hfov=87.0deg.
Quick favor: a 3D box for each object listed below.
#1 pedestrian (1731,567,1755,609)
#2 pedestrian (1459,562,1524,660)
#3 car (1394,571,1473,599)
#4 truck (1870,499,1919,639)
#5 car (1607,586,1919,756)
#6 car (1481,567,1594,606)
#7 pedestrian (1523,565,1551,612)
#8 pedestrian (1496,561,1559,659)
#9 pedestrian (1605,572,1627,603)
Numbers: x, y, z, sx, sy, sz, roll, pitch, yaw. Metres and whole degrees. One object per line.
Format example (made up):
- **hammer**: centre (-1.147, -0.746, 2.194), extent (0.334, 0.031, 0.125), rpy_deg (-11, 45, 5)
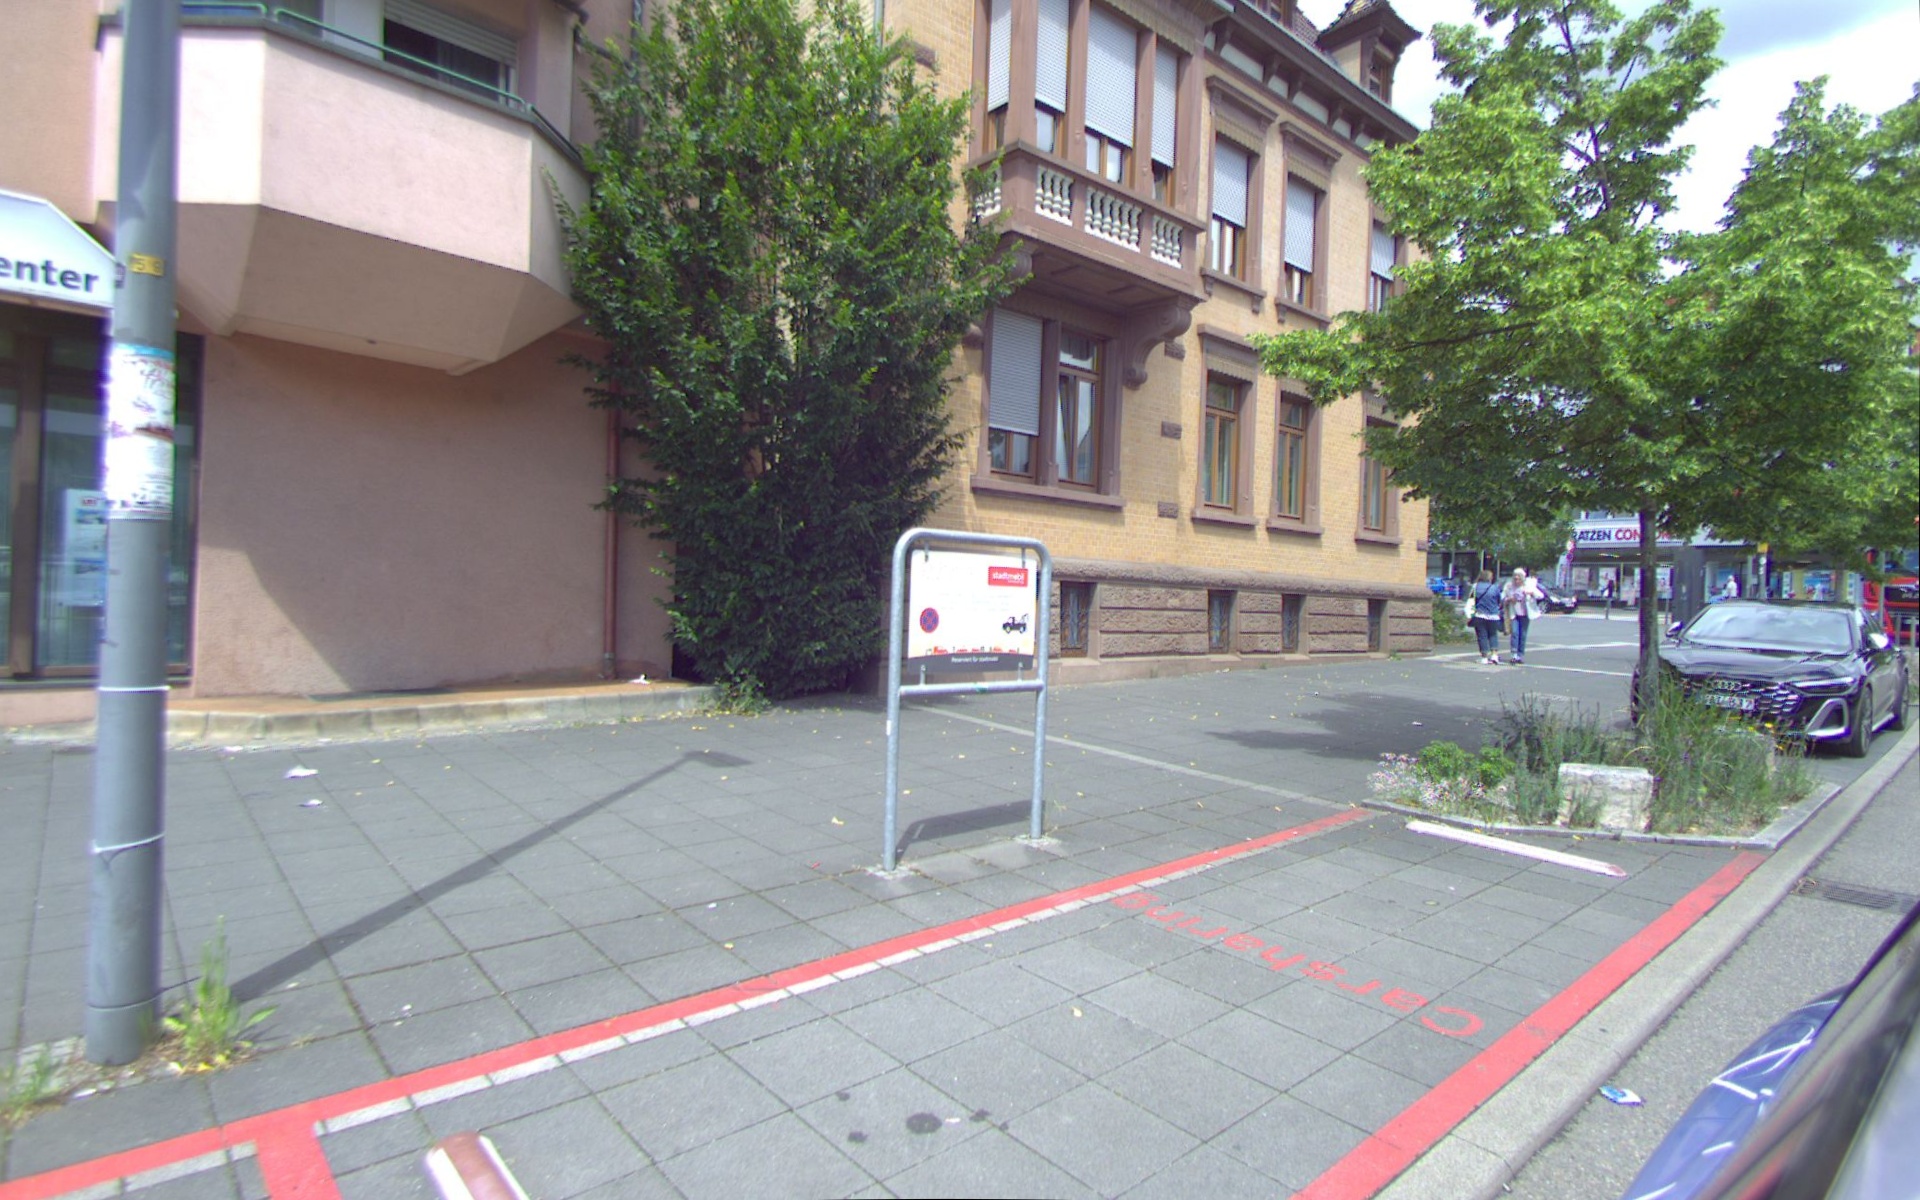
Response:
- **pedestrian**: centre (36.969, -0.570, 47.794), extent (0.751, 1.937, 0.686), rpy_deg (-1, 1, -32)
- **pedestrian**: centre (9.232, 0.171, 17.592), extent (0.661, 1.660, 0.742), rpy_deg (0, 1, -16)
- **car**: centre (27.222, -0.880, 58.287), extent (1.783, 1.582, 3.835), rpy_deg (-1, 1, -30)
- **truck**: centre (30.668, -0.937, 31.314), extent (10.664, 3.890, 2.677), rpy_deg (-1, 1, -42)
- **car**: centre (9.029, 0.610, 11.115), extent (4.653, 1.431, 1.997), rpy_deg (0, 2, -41)
- **car**: centre (25.932, -0.585, 45.544), extent (1.962, 1.672, 4.000), rpy_deg (0, 0, -35)
- **pedestrian**: centre (21.678, -0.427, 38.062), extent (0.756, 1.753, 0.749), rpy_deg (0, 1, 17)
- **pedestrian**: centre (10.023, 0.159, 17.892), extent (0.725, 1.679, 0.699), rpy_deg (0, 1, -30)
- **pedestrian**: centre (34.529, -0.669, 53.266), extent (0.751, 1.603, 0.686), rpy_deg (-1, 1, -32)
